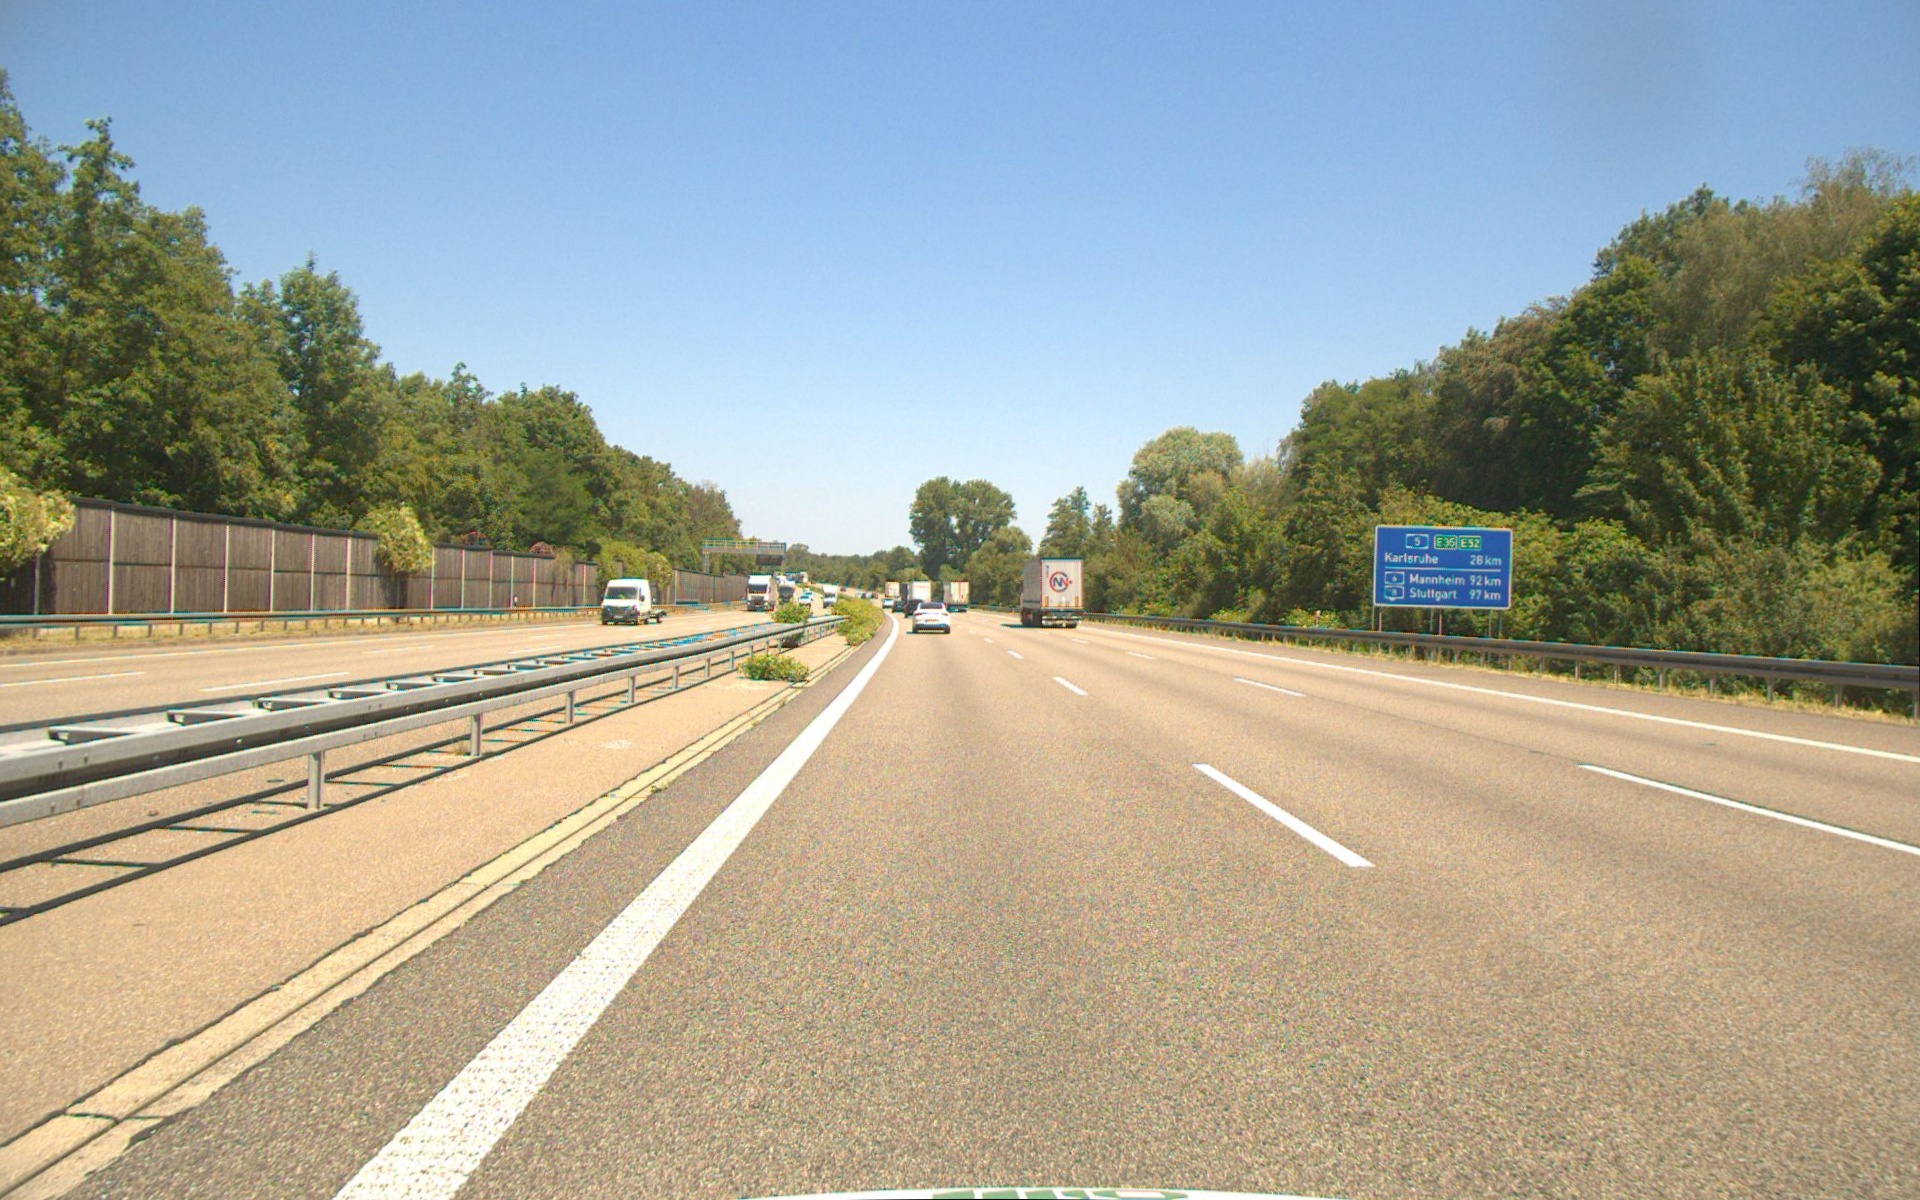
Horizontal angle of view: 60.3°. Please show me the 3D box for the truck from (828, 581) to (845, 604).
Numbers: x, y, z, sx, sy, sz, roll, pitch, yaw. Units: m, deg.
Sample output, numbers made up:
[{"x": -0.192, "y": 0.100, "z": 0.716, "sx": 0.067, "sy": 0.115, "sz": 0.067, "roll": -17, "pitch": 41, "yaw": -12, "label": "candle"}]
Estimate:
[{"x": -18.025, "y": -1.070, "z": 241.882, "sx": 2.150, "sy": 3.169, "sz": 8.529, "roll": 1, "pitch": 0, "yaw": -2, "label": "truck"}]

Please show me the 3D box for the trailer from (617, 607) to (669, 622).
[{"x": -18.661, "y": 0.849, "z": 97.624, "sx": 2.118, "sy": 0.821, "sz": 6.278, "roll": 1, "pitch": 0, "yaw": -3, "label": "trailer"}]

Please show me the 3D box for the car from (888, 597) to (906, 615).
[{"x": -7.587, "y": 0.698, "z": 198.919, "sx": 1.955, "sy": 2.049, "sz": 3.995, "roll": 1, "pitch": 0, "yaw": -6, "label": "car"}]

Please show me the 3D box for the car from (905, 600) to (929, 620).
[{"x": -3.947, "y": 0.918, "z": 150.965, "sx": 1.955, "sy": 1.803, "sz": 3.996, "roll": 1, "pitch": 0, "yaw": -5, "label": "car"}]

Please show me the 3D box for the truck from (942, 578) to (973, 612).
[{"x": -0.361, "y": -0.624, "z": 219.153, "sx": 3.423, "sy": 4.386, "sz": 10.980, "roll": 1, "pitch": 0, "yaw": -4, "label": "truck"}]

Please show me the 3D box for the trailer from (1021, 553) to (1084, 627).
[{"x": 5.673, "y": -0.586, "z": 103.892, "sx": 2.571, "sy": 4.335, "sz": 14.054, "roll": 1, "pitch": 0, "yaw": -2, "label": "trailer"}]

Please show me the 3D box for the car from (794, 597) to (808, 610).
[{"x": -23.676, "y": 0.475, "z": 246.976, "sx": 1.830, "sy": 1.852, "sz": 4.814, "roll": 1, "pitch": 0, "yaw": -3, "label": "car"}]

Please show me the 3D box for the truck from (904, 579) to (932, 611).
[{"x": -6.015, "y": -0.664, "z": 235.608, "sx": 3.294, "sy": 4.386, "sz": 10.816, "roll": 1, "pitch": 0, "yaw": -5, "label": "truck"}]

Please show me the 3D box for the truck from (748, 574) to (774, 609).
[{"x": -23.185, "y": -0.986, "z": 192.746, "sx": 2.633, "sy": 3.963, "sz": 5.570, "roll": 1, "pitch": 0, "yaw": -3, "label": "truck"}]

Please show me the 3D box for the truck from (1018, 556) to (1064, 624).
[{"x": 5.410, "y": -0.662, "z": 110.959, "sx": 2.553, "sy": 4.362, "sz": 5.433, "roll": 1, "pitch": 0, "yaw": -2, "label": "truck"}]

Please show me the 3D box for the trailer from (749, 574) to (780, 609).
[{"x": -23.458, "y": -1.012, "z": 199.328, "sx": 2.674, "sy": 3.978, "sz": 13.754, "roll": 1, "pitch": 0, "yaw": -2, "label": "trailer"}]

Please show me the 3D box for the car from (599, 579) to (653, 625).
[{"x": -18.473, "y": 0.120, "z": 91.741, "sx": 1.983, "sy": 2.473, "sz": 5.411, "roll": 1, "pitch": 0, "yaw": -2, "label": "car"}]

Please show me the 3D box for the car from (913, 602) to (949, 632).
[{"x": -1.379, "y": 0.778, "z": 78.726, "sx": 1.681, "sy": 1.393, "sz": 3.374, "roll": 1, "pitch": 0, "yaw": -2, "label": "car"}]

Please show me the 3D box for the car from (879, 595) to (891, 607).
[{"x": -11.420, "y": 0.168, "z": 251.503, "sx": 1.690, "sy": 1.814, "sz": 3.995, "roll": 1, "pitch": 0, "yaw": -6, "label": "car"}]
